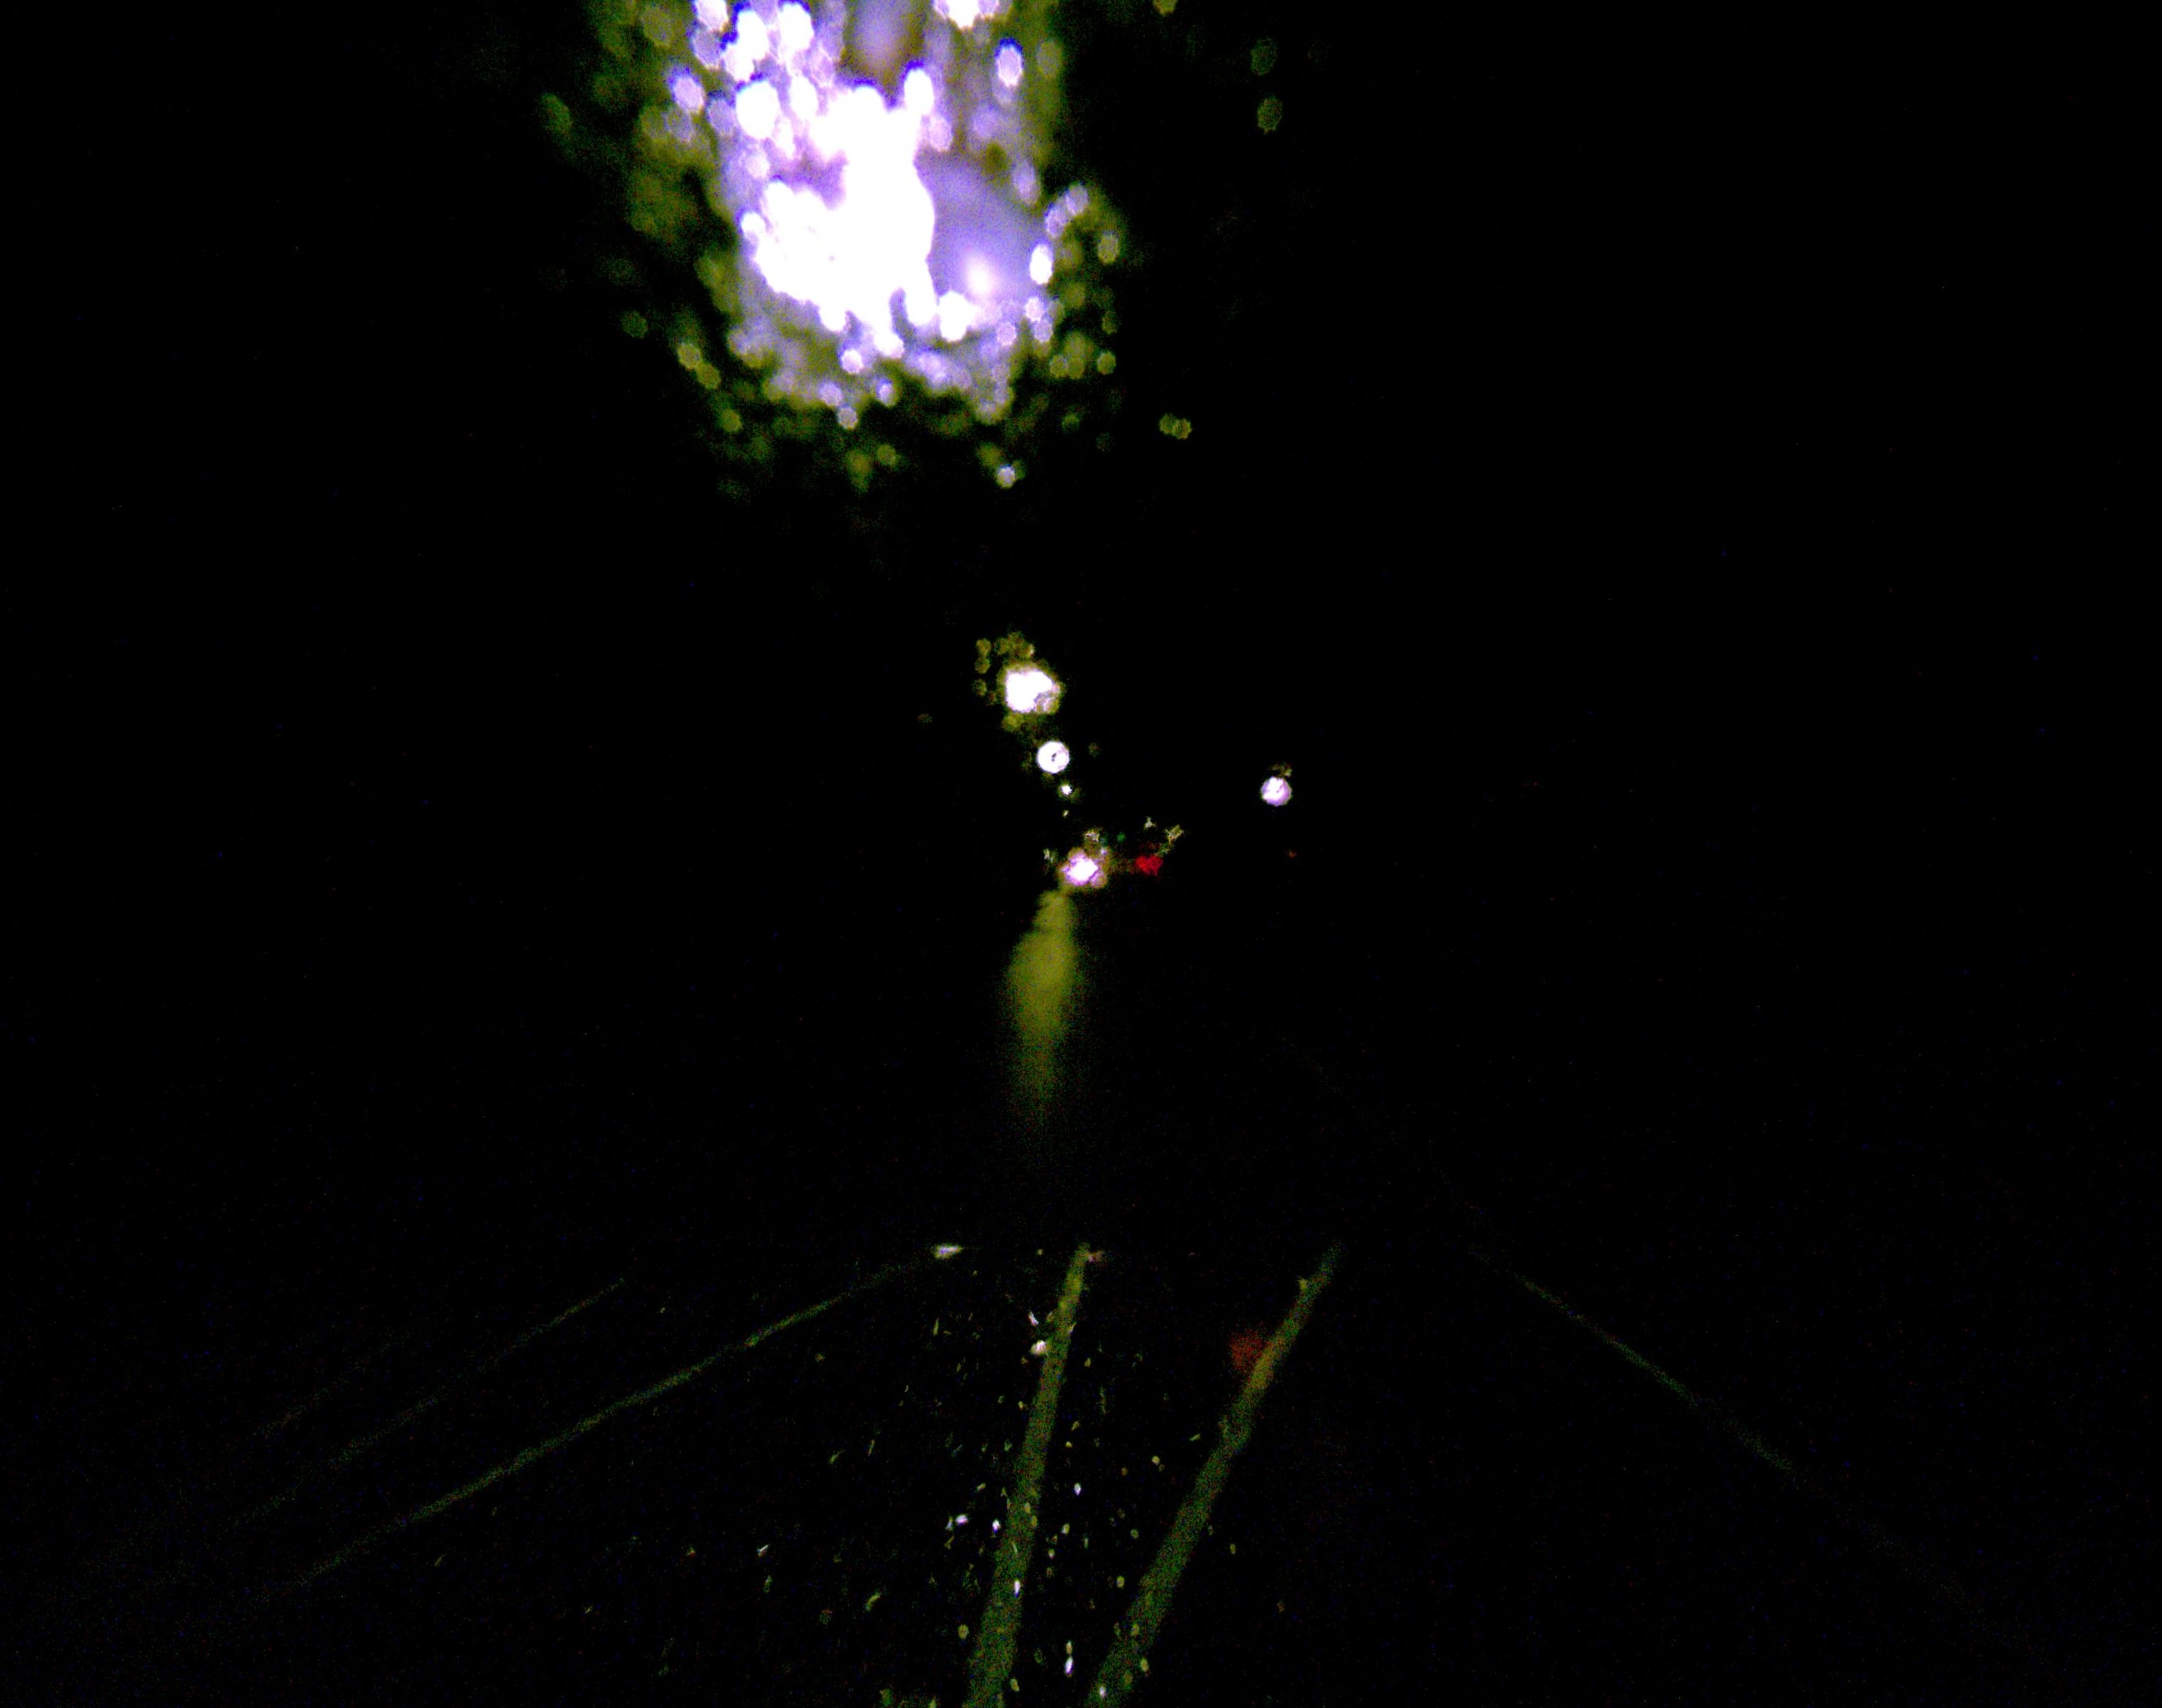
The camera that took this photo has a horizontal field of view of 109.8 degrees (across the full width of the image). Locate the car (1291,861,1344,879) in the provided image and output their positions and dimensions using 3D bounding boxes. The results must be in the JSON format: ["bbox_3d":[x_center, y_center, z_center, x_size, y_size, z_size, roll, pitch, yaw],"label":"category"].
[{"bbox_3d":[20.022,1.342,64.361,4.084,1.364,1.494,0,4,5],"label":"car"}]

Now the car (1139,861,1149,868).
[{"bbox_3d":[13.998,2.351,169.244,1.997,1.447,4.306,3,1,8],"label":"car"}]

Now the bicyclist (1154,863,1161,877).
[{"bbox_3d":[8.601,1.781,85.136,0.638,1.585,0.961,-2,-2,-1],"label":"bicyclist"}]

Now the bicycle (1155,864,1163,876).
[{"bbox_3d":[8.710,1.789,84.924,0.631,1.154,2.313,0,1,0],"label":"bicycle"}]
